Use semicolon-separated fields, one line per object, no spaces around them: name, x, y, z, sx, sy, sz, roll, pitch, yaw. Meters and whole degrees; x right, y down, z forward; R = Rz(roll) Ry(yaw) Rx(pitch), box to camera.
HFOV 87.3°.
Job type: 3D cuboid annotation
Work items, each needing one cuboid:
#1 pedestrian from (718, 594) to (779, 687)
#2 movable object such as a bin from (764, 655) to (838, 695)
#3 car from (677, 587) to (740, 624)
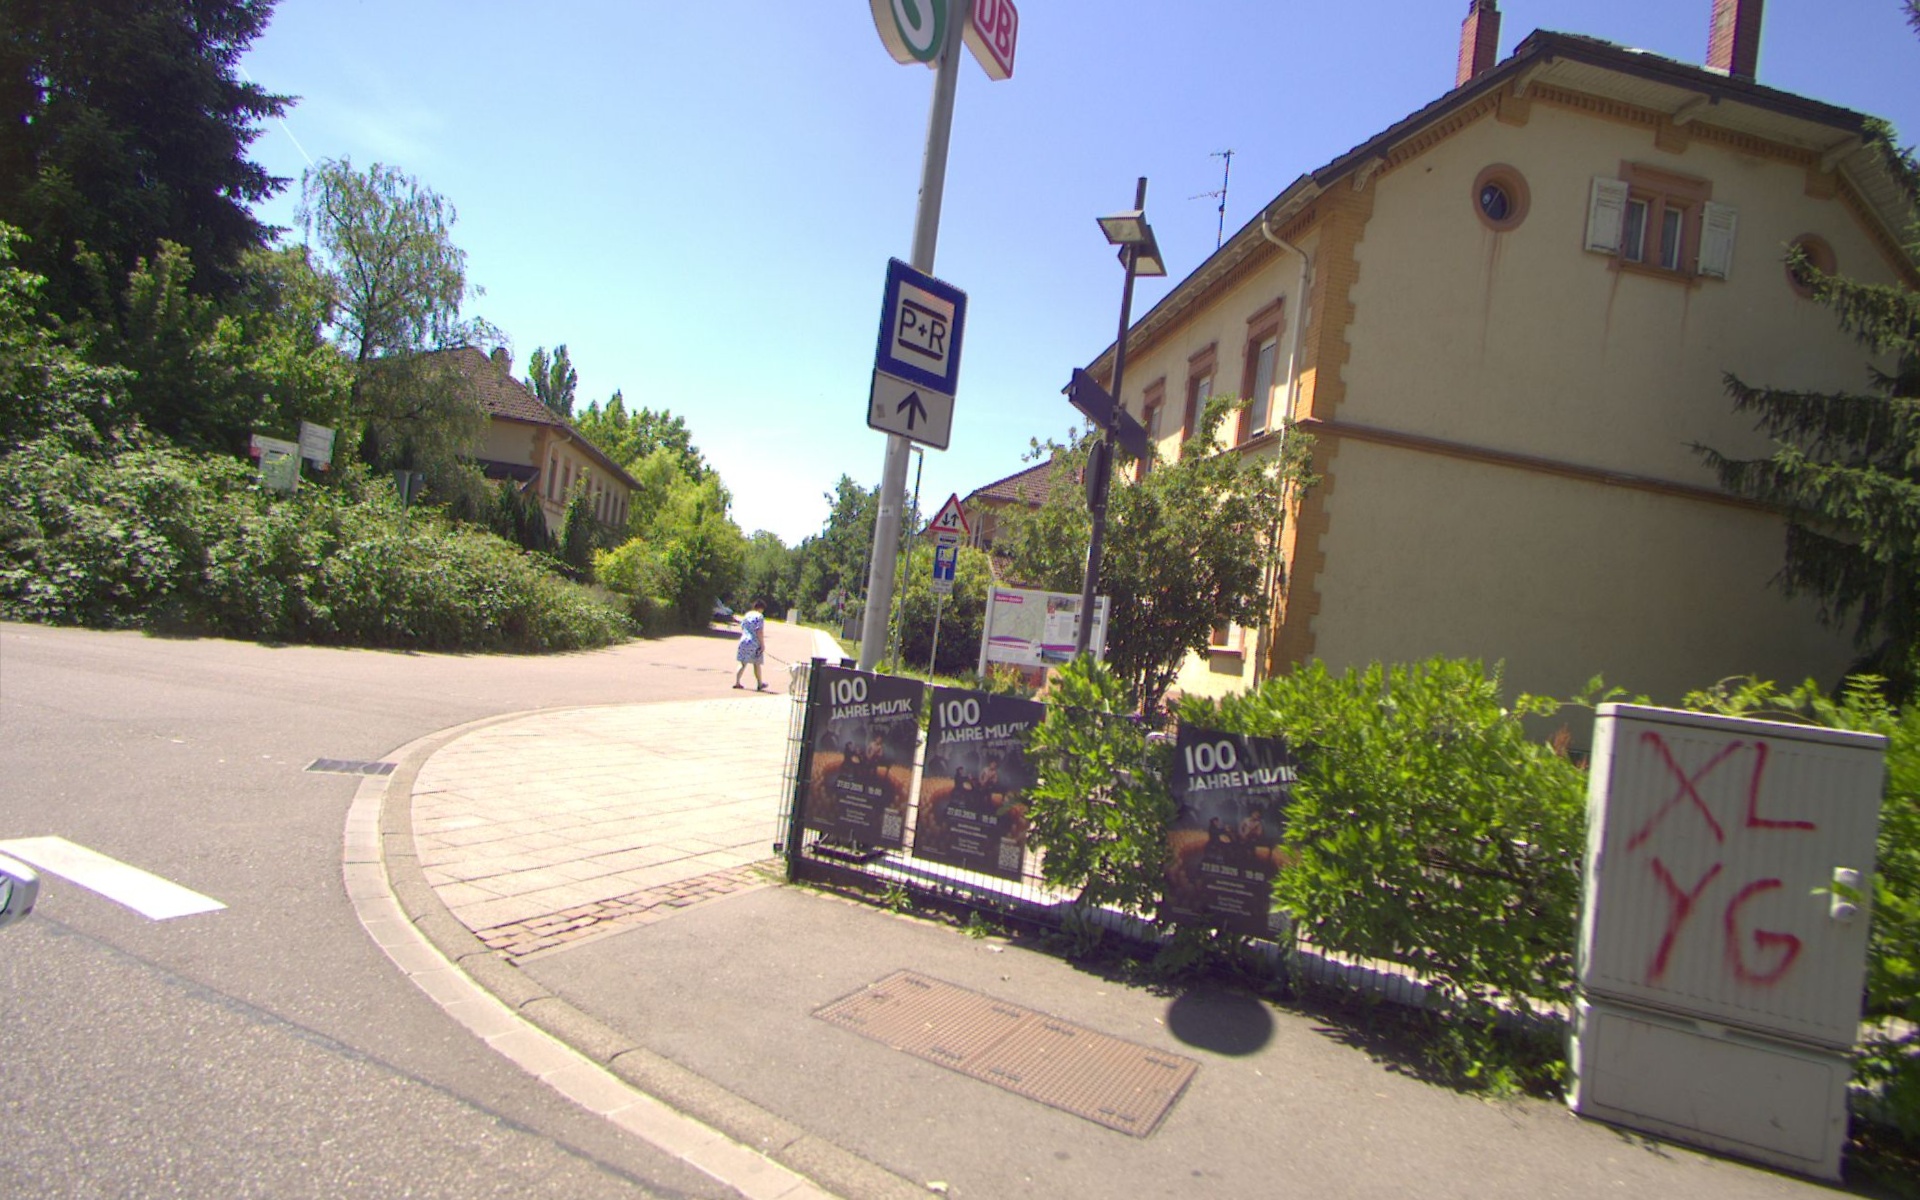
pedestrian;-3.955;0.767;18.827;0.688;1.646;0.617;6;-1;25
movable object such as a bin;-2.907;1.392;18.482;0.510;0.601;1.237;6;-2;42
car;-20.173;0.490;80.785;4.380;2.349;2.201;8;-1;-5
